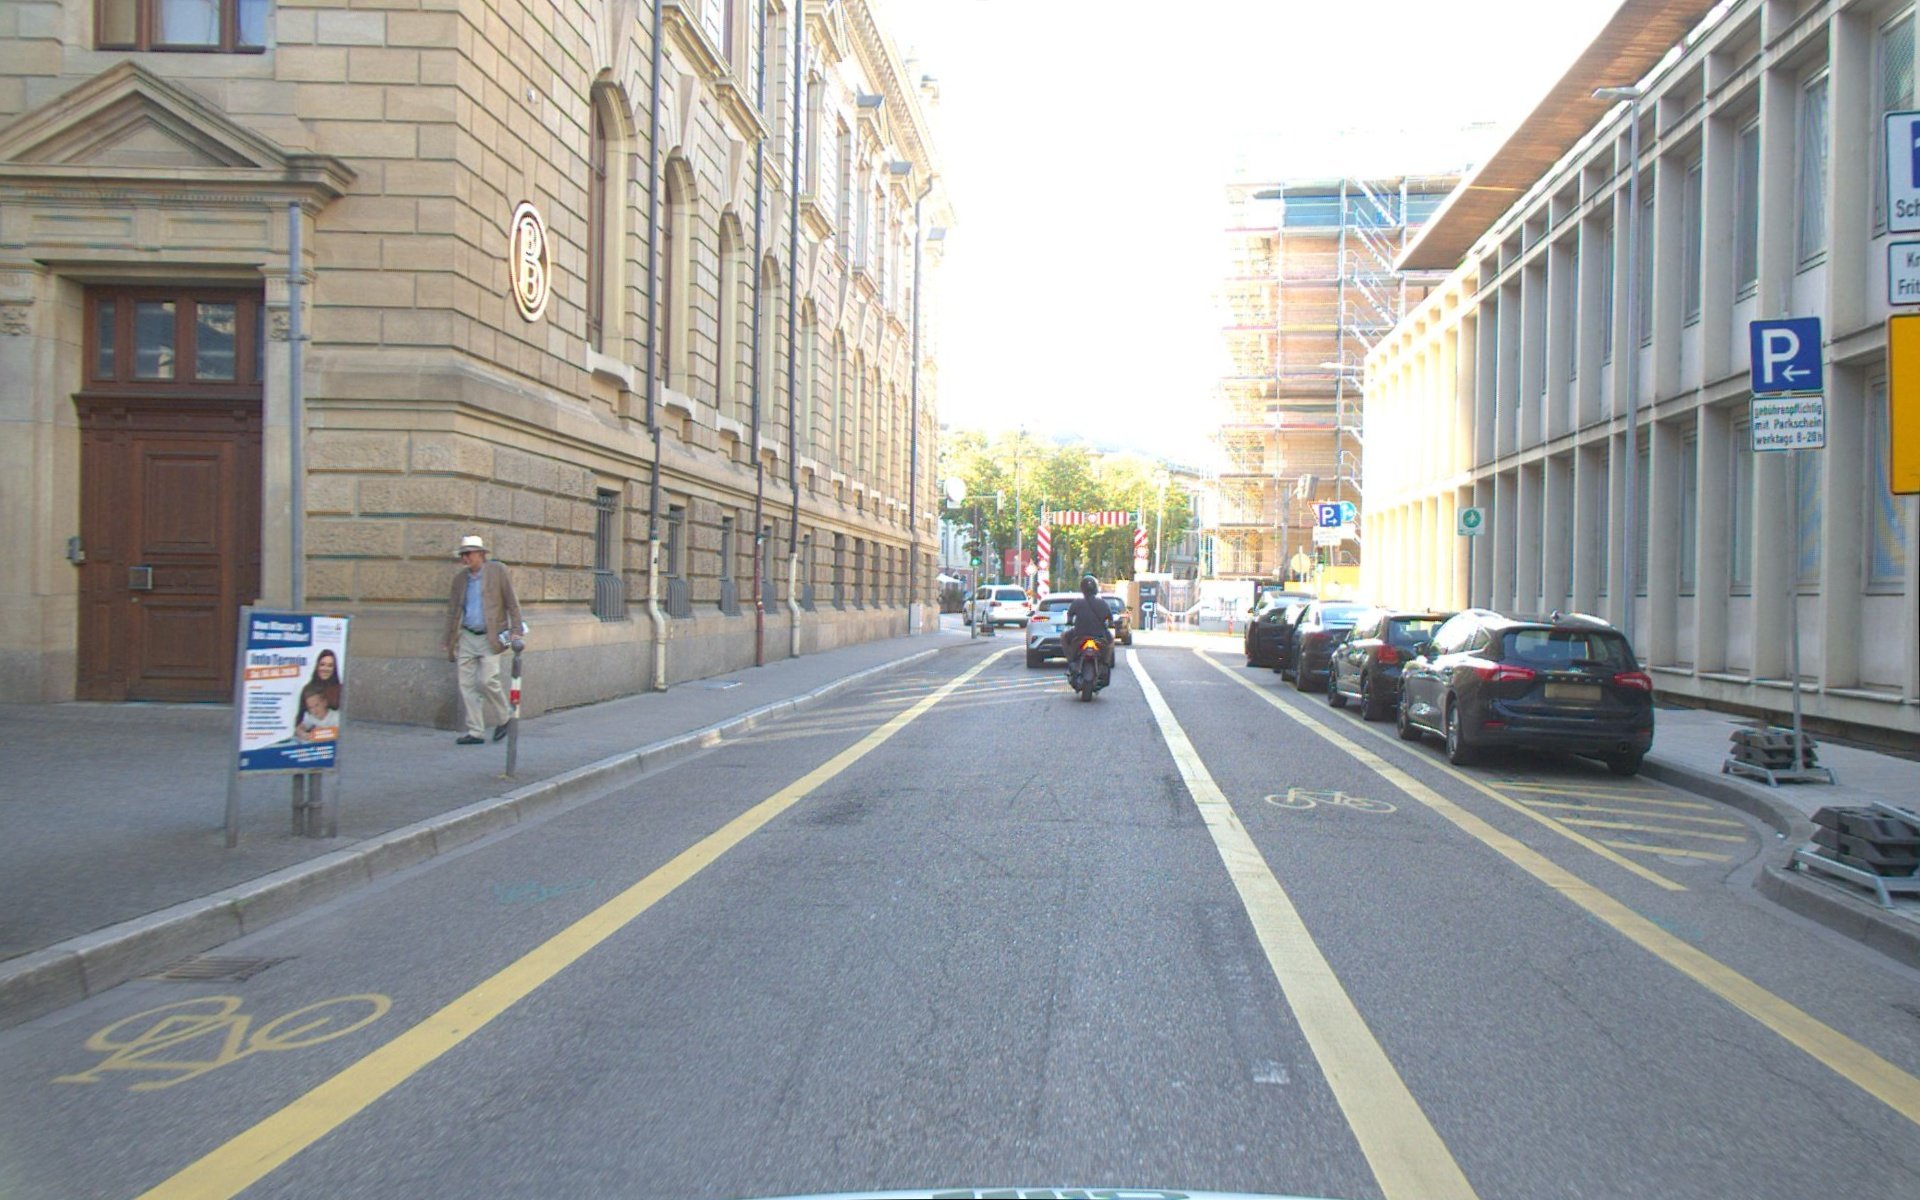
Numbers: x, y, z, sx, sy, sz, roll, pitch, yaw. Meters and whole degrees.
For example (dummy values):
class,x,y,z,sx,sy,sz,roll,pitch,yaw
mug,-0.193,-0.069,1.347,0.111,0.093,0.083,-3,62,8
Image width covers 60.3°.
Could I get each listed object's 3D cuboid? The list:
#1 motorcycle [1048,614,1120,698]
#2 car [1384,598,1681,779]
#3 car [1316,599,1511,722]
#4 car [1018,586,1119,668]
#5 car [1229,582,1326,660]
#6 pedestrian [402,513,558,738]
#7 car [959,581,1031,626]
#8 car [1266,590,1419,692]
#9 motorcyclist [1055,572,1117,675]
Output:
class,x,y,z,sx,sy,sz,roll,pitch,yaw
motorcycle,1.773,0.771,23.352,0.854,1.129,1.841,0,-1,9
car,5.659,0.784,16.908,1.745,1.505,4.291,3,1,4
car,6.081,0.774,22.643,1.743,1.505,4.290,0,-1,4
car,2.332,0.531,34.575,1.784,1.568,4.267,2,0,7
car,7.884,0.476,41.426,1.786,1.728,4.669,2,1,4
pedestrian,-4.179,0.219,14.482,0.823,1.831,1.074,4,0,7
car,1.443,0.132,69.667,1.960,1.693,4.343,-2,2,-14
car,6.520,0.639,28.683,1.786,1.527,4.739,2,0,4
motorcyclist,1.790,0.332,23.489,0.848,1.452,0.456,0,-1,7
